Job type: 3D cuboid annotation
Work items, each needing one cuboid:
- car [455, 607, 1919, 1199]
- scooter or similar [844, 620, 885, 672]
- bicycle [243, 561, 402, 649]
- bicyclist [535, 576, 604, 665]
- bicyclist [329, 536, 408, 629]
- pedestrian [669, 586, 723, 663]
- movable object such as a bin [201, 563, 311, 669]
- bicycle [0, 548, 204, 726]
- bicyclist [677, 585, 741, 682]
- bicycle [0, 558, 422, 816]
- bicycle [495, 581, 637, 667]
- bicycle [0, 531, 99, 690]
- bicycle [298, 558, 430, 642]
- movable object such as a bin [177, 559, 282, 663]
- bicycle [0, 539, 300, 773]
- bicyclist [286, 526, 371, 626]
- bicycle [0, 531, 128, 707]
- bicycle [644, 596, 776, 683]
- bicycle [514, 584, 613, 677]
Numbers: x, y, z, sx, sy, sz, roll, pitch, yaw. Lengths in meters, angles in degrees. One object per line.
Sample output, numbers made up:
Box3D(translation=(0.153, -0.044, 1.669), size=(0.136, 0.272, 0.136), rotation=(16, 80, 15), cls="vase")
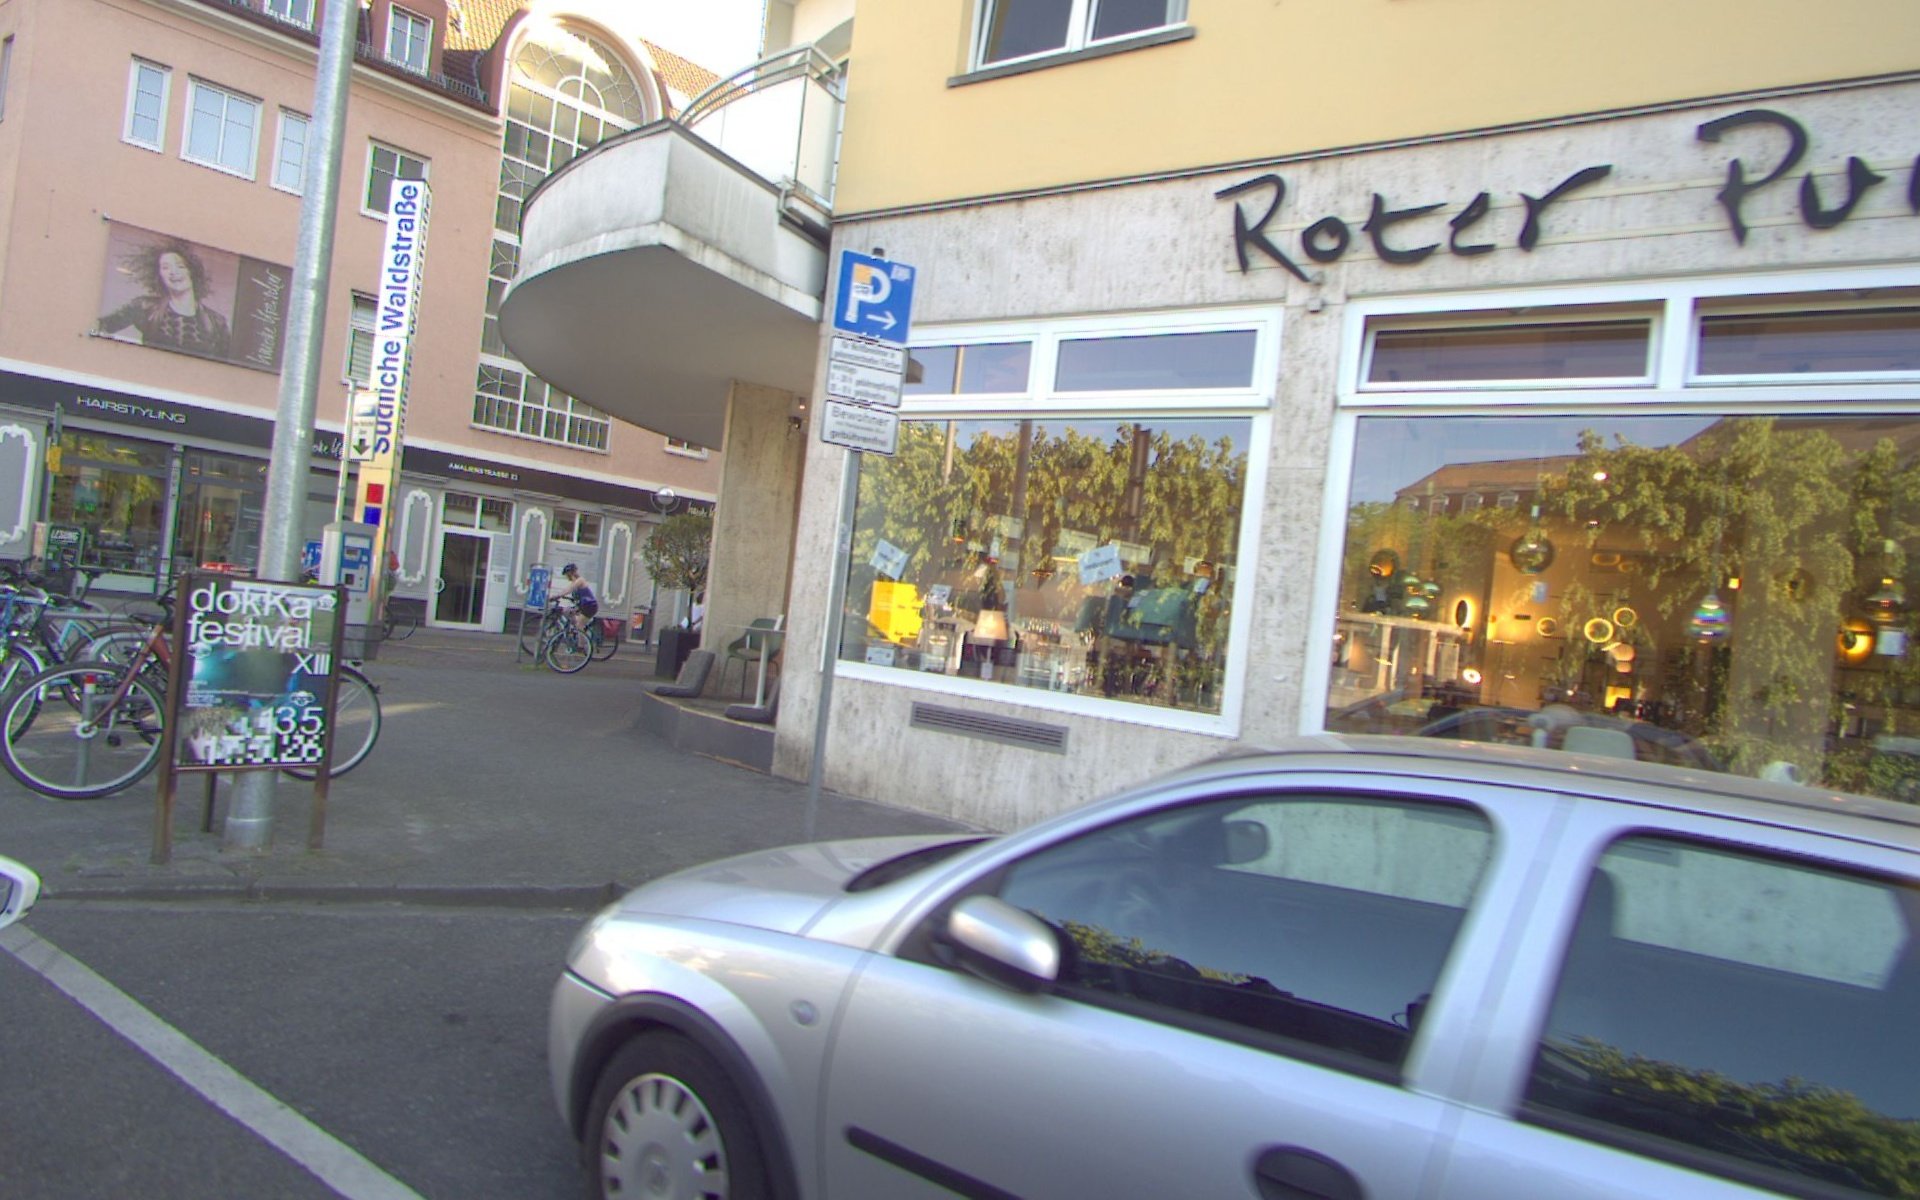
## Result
Box3D(translation=(0.792, 0.957, 2.166), size=(3.583, 1.397, 1.617), rotation=(6, -3, 32), cls="car")
Box3D(translation=(-2.498, 1.201, 26.428), size=(0.821, 1.260, 0.778), rotation=(6, -1, 6), cls="scooter or similar")
Box3D(translation=(-10.012, 0.094, 15.845), size=(1.959, 1.163, 0.782), rotation=(7, -1, -40), cls="bicycle")
Box3D(translation=(-6.859, 0.359, 17.660), size=(0.915, 1.431, 0.800), rotation=(7, -1, -28), cls="bicyclist")
Box3D(translation=(-10.252, -0.300, 17.441), size=(0.942, 1.466, 0.797), rotation=(7, -1, -39), cls="bicyclist")
Box3D(translation=(-5.785, 0.536, 22.027), size=(0.744, 1.570, 0.691), rotation=(7, -1, -41), cls="pedestrian")
Box3D(translation=(-8.098, 0.188, 11.584), size=(0.617, 1.104, 0.754), rotation=(6, -2, 33), cls="movable object such as a bin")
Box3D(translation=(-6.446, 0.239, 6.908), size=(0.770, 1.138, 1.797), rotation=(6, 0, 37), cls="bicycle")
Box3D(translation=(-4.518, 0.599, 18.107), size=(0.828, 1.643, 0.570), rotation=(8, -2, -29), cls="bicyclist")
Box3D(translation=(-4.278, 0.476, 5.792), size=(0.681, 1.208, 1.885), rotation=(7, 0, 37), cls="bicycle")
Box3D(translation=(-6.889, 0.432, 17.638), size=(2.154, 1.236, 0.676), rotation=(8, -1, -27), cls="bicycle")
Box3D(translation=(-8.268, 0.036, 8.075), size=(0.820, 1.273, 1.861), rotation=(6, 0, 37), cls="bicycle")
Box3D(translation=(-10.288, 0.015, 17.410), size=(1.786, 1.236, 0.673), rotation=(8, -2, -40), cls="bicycle")
Box3D(translation=(-8.635, 0.136, 11.904), size=(0.617, 1.104, 0.734), rotation=(6, -2, 33), cls="movable object such as a bin")
Box3D(translation=(-5.285, 0.335, 6.264), size=(0.778, 1.284, 1.721), rotation=(6, 0, 37), cls="bicycle")
Box3D(translation=(-9.948, -0.372, 15.847), size=(0.919, 1.431, 0.797), rotation=(7, -1, -39), cls="bicyclist")
Box3D(translation=(-7.451, 0.104, 7.473), size=(0.768, 1.282, 1.746), rotation=(6, 0, 34), cls="bicycle")
Box3D(translation=(-4.511, 0.725, 18.201), size=(2.122, 1.331, 0.580), rotation=(8, -1, -30), cls="bicycle")
Box3D(translation=(-6.098, 0.437, 15.393), size=(0.656, 1.213, 2.188), rotation=(7, -2, -39), cls="bicycle")
